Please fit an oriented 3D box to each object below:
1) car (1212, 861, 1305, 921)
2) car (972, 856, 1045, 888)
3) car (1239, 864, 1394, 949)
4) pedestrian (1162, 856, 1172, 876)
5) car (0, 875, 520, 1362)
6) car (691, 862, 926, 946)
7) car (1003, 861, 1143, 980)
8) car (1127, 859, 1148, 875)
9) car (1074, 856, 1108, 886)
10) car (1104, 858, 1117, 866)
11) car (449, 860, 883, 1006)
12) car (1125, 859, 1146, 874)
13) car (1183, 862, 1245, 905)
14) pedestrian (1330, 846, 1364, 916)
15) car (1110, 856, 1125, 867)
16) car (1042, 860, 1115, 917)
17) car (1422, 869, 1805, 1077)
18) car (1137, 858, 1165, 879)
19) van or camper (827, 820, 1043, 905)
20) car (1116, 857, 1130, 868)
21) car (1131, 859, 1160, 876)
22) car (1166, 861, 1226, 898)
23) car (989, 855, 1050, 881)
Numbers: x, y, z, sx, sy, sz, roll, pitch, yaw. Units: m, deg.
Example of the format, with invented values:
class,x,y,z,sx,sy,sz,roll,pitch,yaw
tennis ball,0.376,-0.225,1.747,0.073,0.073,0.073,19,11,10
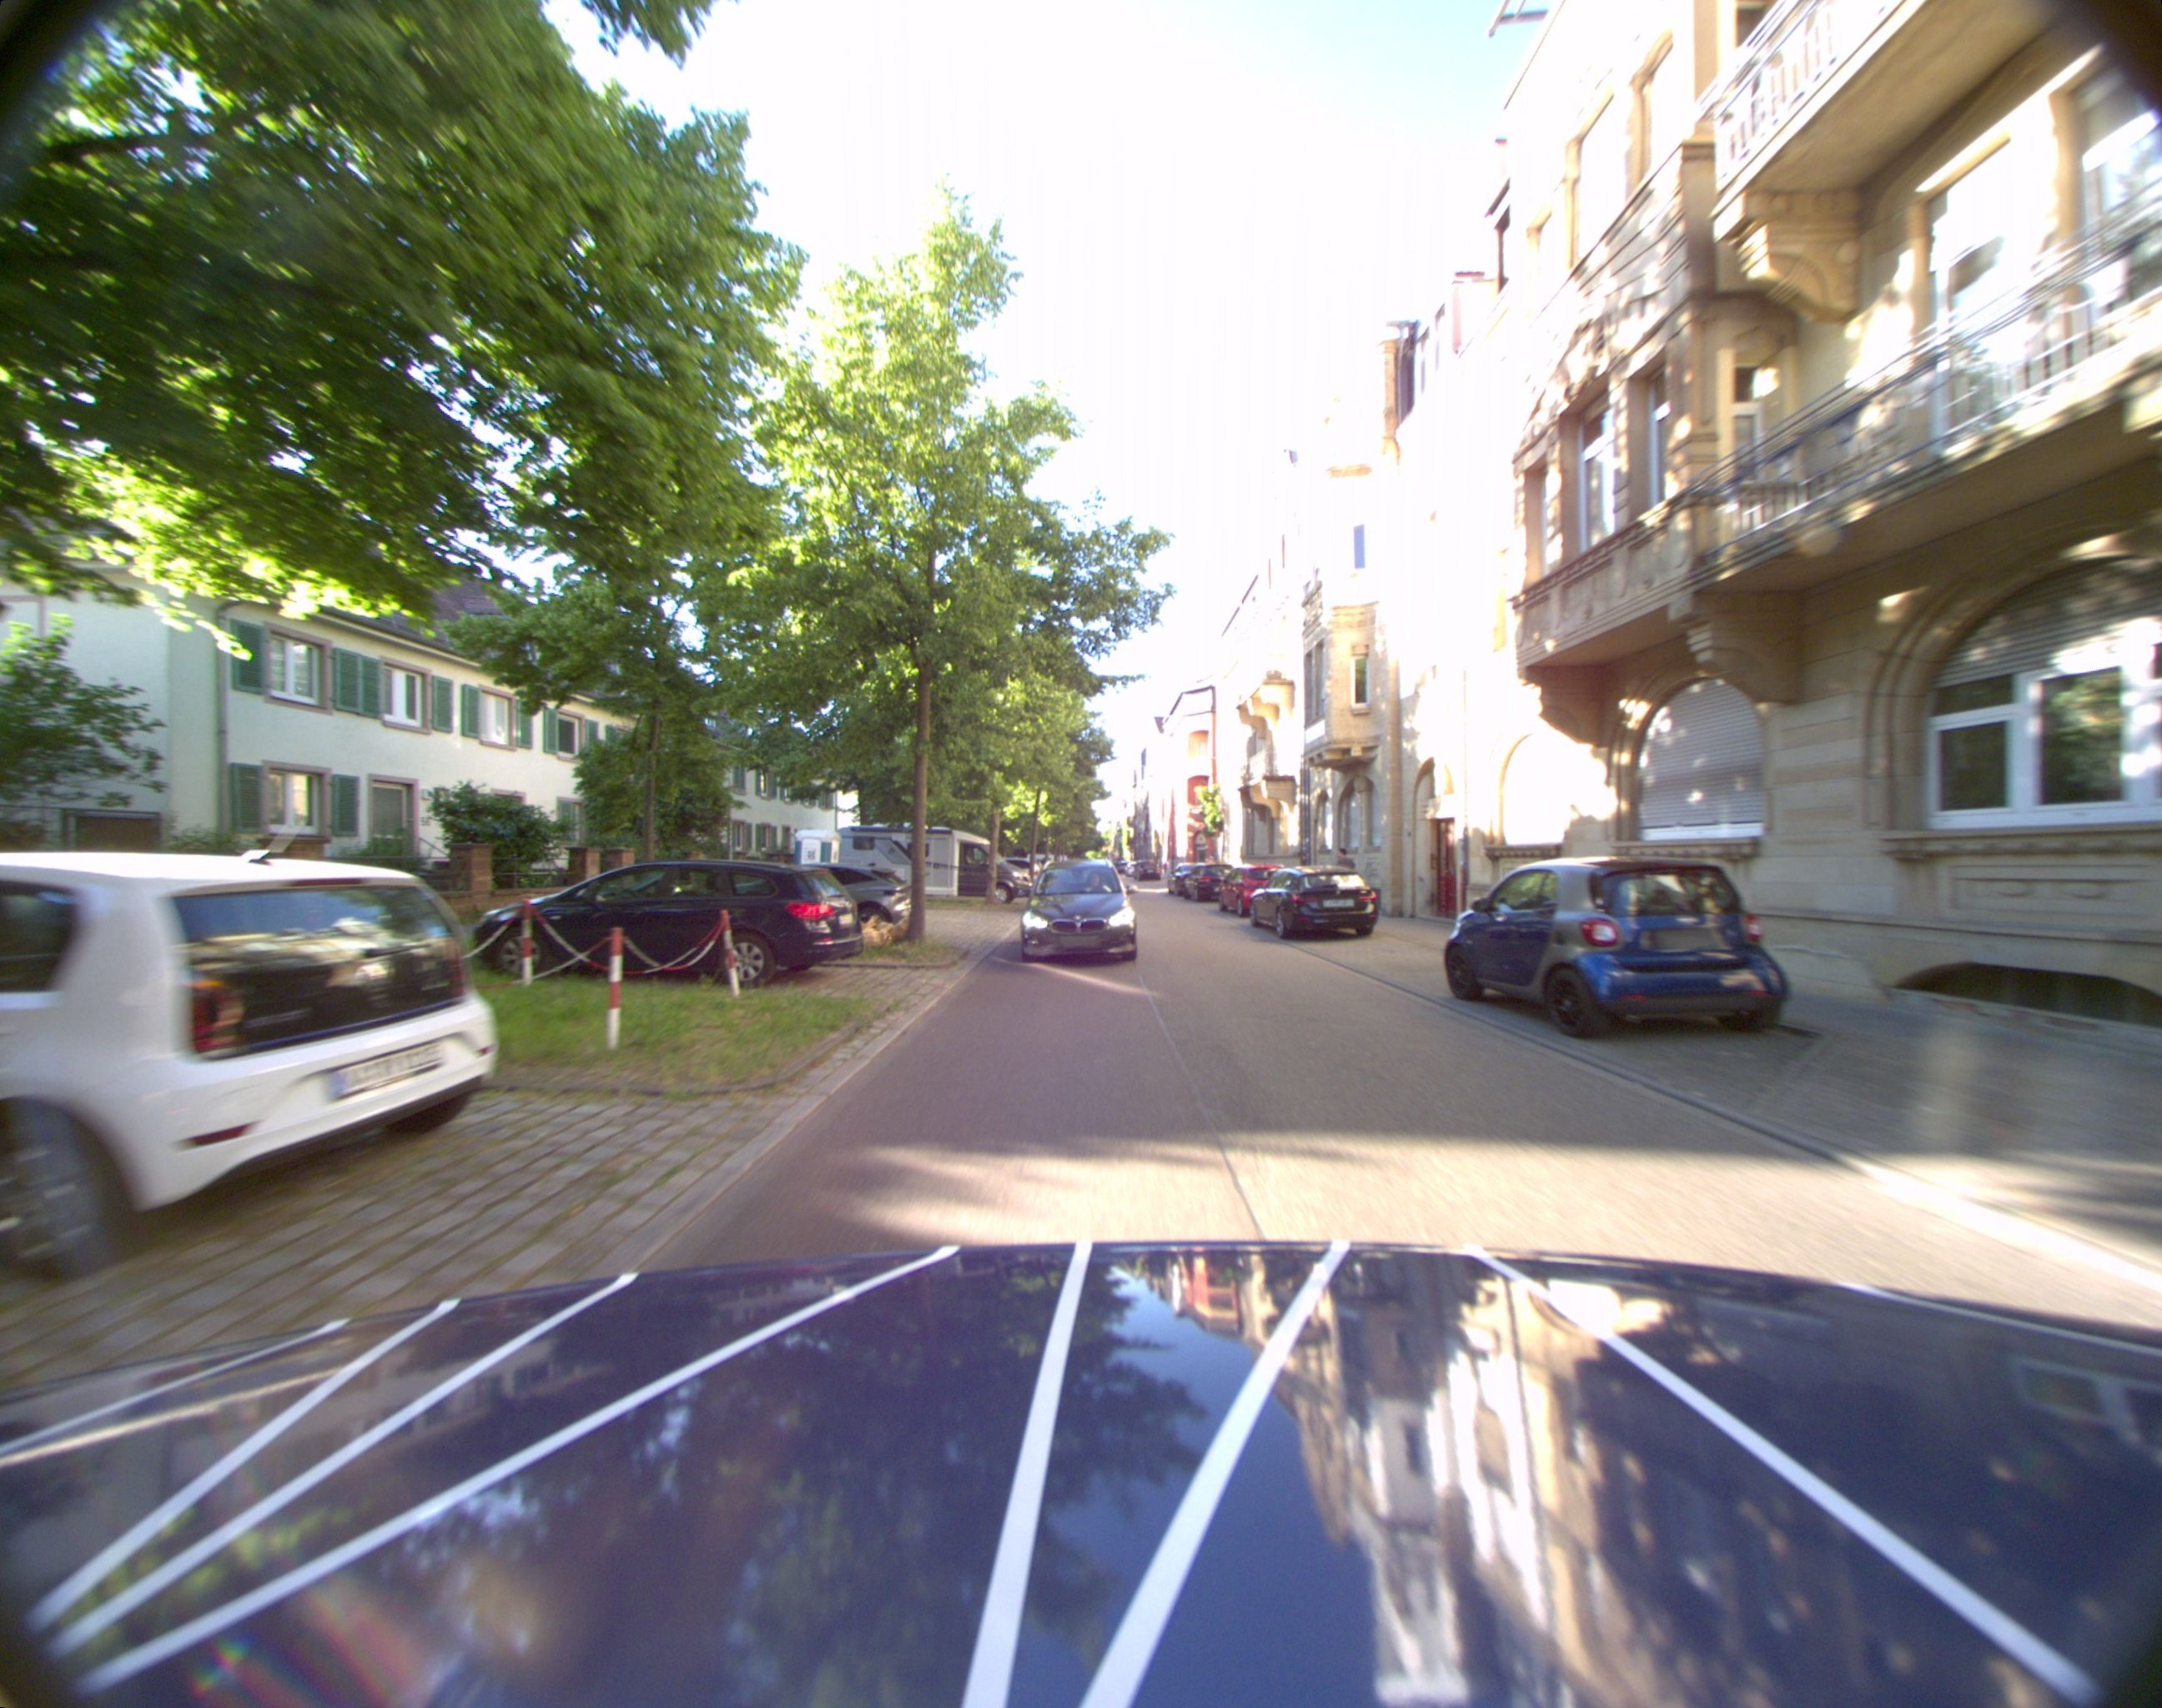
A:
class,x,y,z,sx,sy,sz,roll,pitch,yaw
car,5.095,1.013,22.290,1.694,1.457,3.773,-4,0,-1
car,-4.134,1.041,43.893,3.997,1.804,2.000,0,0,1
car,4.878,1.017,16.489,1.905,1.430,4.542,-4,0,0
pedestrian,7.504,1.065,66.386,0.779,1.692,1.010,0,0,1
car,-4.816,0.875,3.318,3.456,1.467,1.693,1,0,1
car,-5.266,0.945,15.154,3.998,1.510,1.999,0,1,-3
car,-0.071,0.978,13.143,1.924,1.597,4.517,-3,0,1
car,5.765,1.306,77.573,1.922,1.510,4.000,0,0,0
car,0.595,1.014,46.723,1.998,1.739,4.000,0,0,0
car,6.313,1.649,162.427,2.000,1.529,3.997,-2,0,-8
car,-4.996,0.905,9.571,4.468,1.469,1.753,2,0,2
car,5.818,1.341,81.789,1.998,1.514,4.000,-2,0,1
car,5.066,1.087,29.385,1.747,1.457,3.998,-2,0,2
pedestrian,7.165,0.725,20.484,0.695,1.837,0.497,-2,0,2
car,5.195,1.116,109.987,1.987,1.549,3.833,0,0,0
car,-0.035,0.990,23.666,1.998,1.510,4.652,-2,0,1
car,4.837,0.968,7.415,1.688,1.500,2.861,-4,0,1
car,5.625,1.163,61.526,1.862,1.594,4.000,-2,0,0
van or camper,-5.059,0.276,27.274,7.266,2.888,2.427,0,1,1
car,5.382,1.139,98.076,1.702,1.372,4.000,0,0,0
car,5.783,1.176,68.963,1.999,1.510,3.998,0,0,-4
car,5.212,1.133,35.048,1.893,1.448,4.510,-4,0,-1
car,-4.362,0.993,54.642,3.994,1.871,2.002,0,0,9
